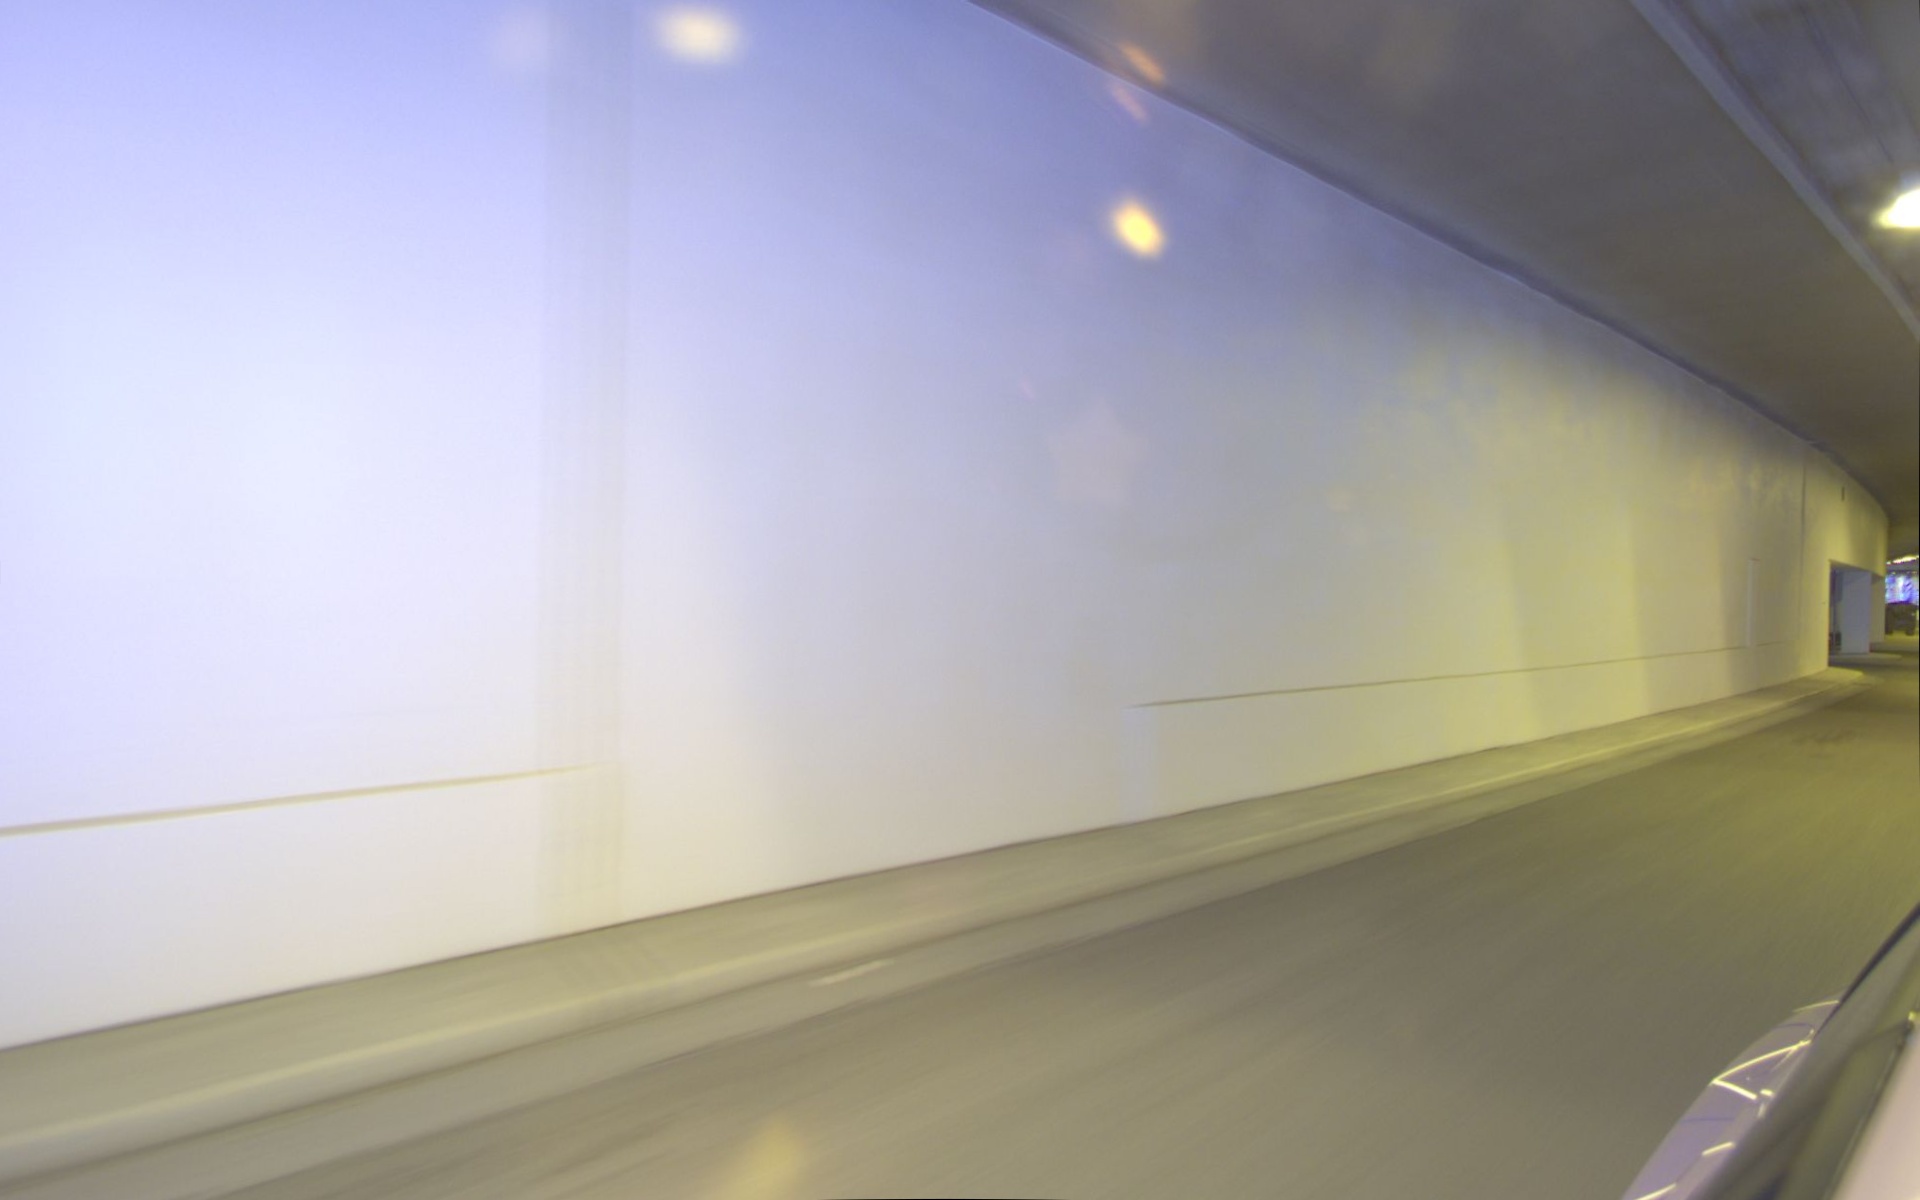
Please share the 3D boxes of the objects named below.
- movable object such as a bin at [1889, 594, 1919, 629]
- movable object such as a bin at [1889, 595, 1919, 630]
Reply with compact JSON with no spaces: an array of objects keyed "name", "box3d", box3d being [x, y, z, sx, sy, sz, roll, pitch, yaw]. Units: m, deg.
[{"name":"movable object such as a bin","box3d":[41.475,0.488,44.335,1.096,1.463,1.302,0,1,41]},{"name":"movable object such as a bin","box3d":[40.569,0.508,43.305,1.144,1.463,1.344,0,1,41]}]
